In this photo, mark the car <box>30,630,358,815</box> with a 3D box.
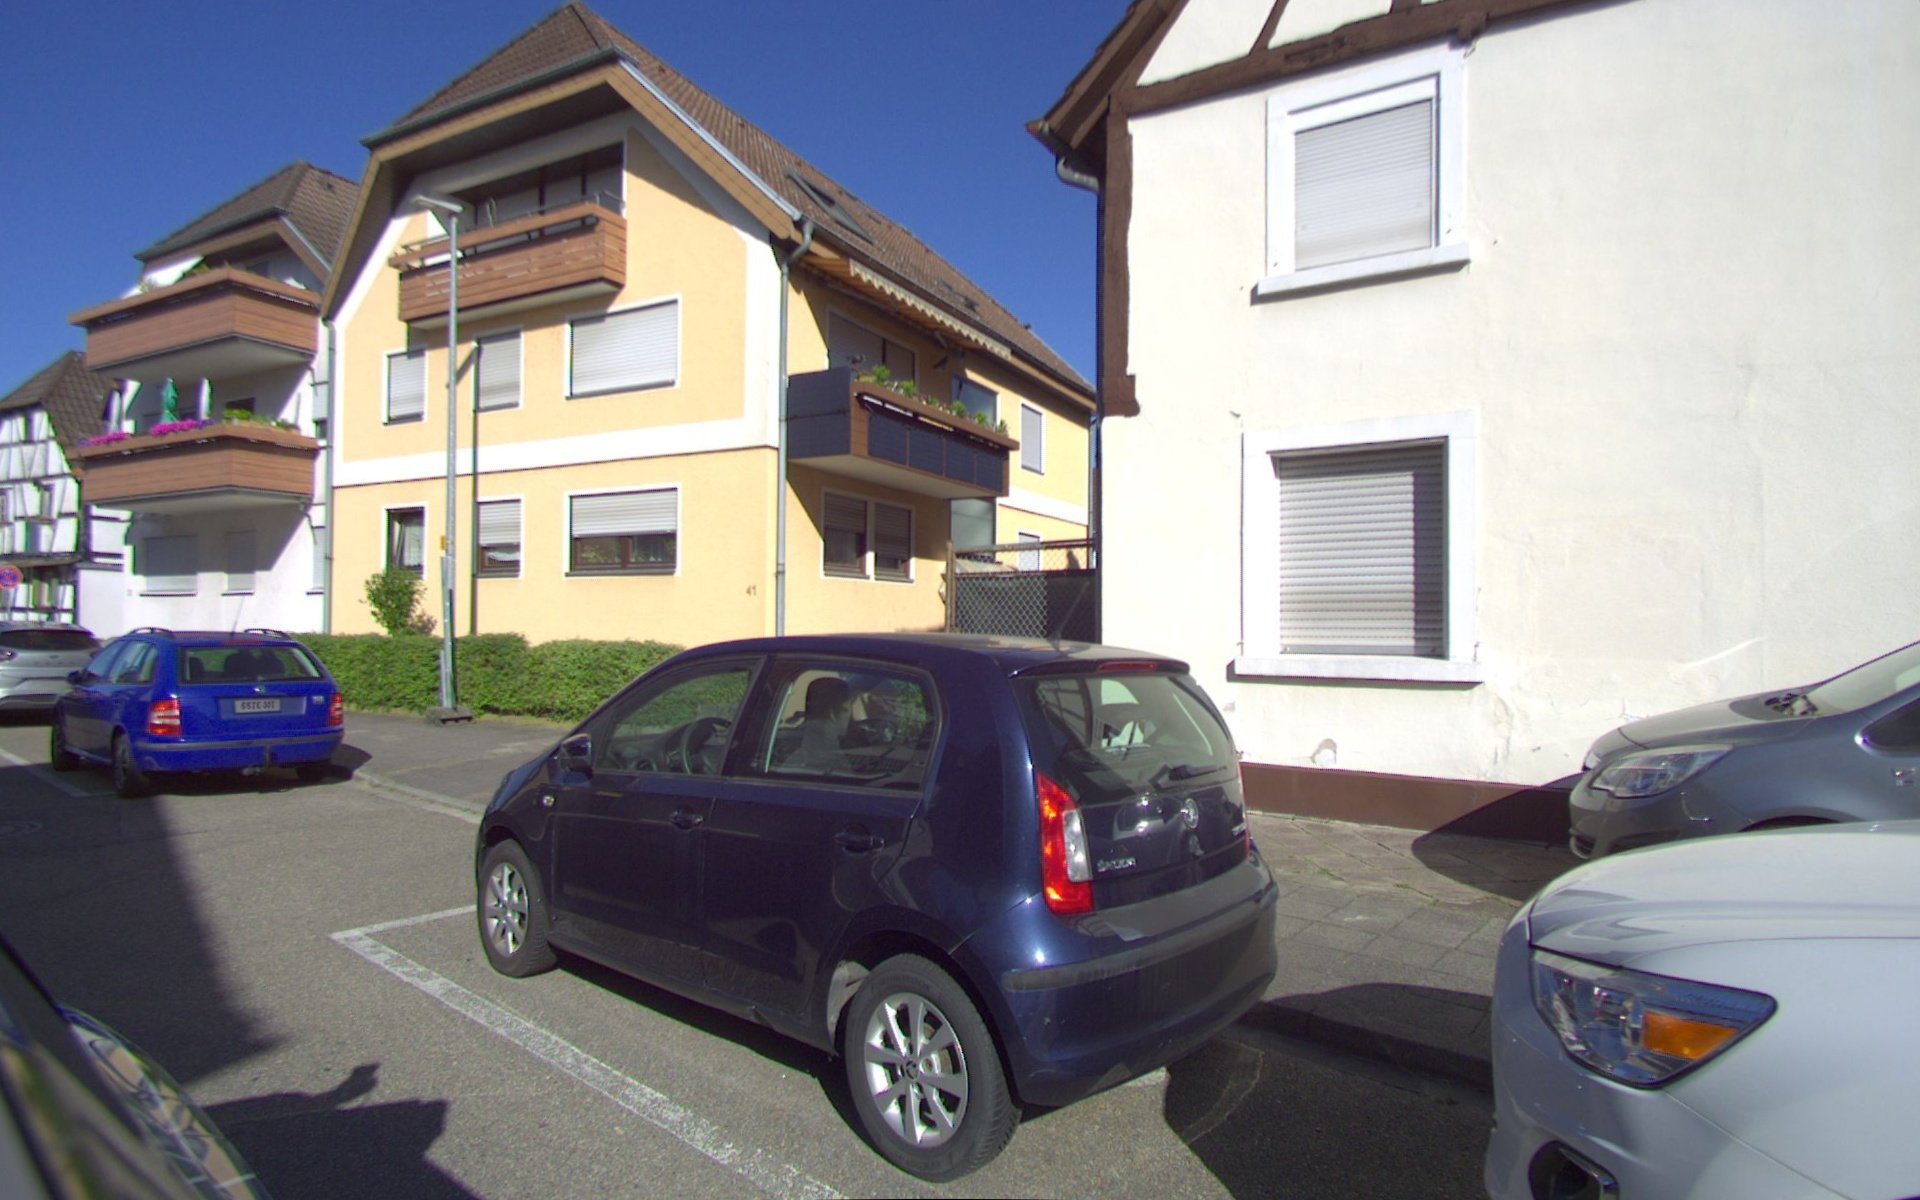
[{"bbox_3d":[-7.528,1.025,9.825,3.951,1.450,1.602,-1,-3,39],"label":"car"}]

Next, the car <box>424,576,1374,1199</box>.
[{"bbox_3d":[-0.501,0.765,4.055,3.681,1.519,1.638,-1,-3,40],"label":"car"}]

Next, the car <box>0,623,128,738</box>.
[{"bbox_3d":[-14.397,1.141,15.405,3.993,1.568,1.742,-1,-3,37],"label":"car"}]

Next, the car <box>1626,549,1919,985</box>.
[{"bbox_3d":[4.934,0.608,3.706,4.103,1.599,1.627,-1,-2,36],"label":"car"}]

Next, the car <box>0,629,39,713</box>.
[{"bbox_3d":[-18.581,1.269,18.704,3.609,1.488,1.608,-1,-3,37],"label":"car"}]

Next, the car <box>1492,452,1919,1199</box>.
[{"bbox_3d":[2.929,0.631,0.871,4.109,1.631,1.705,-1,-3,40],"label":"car"}]
